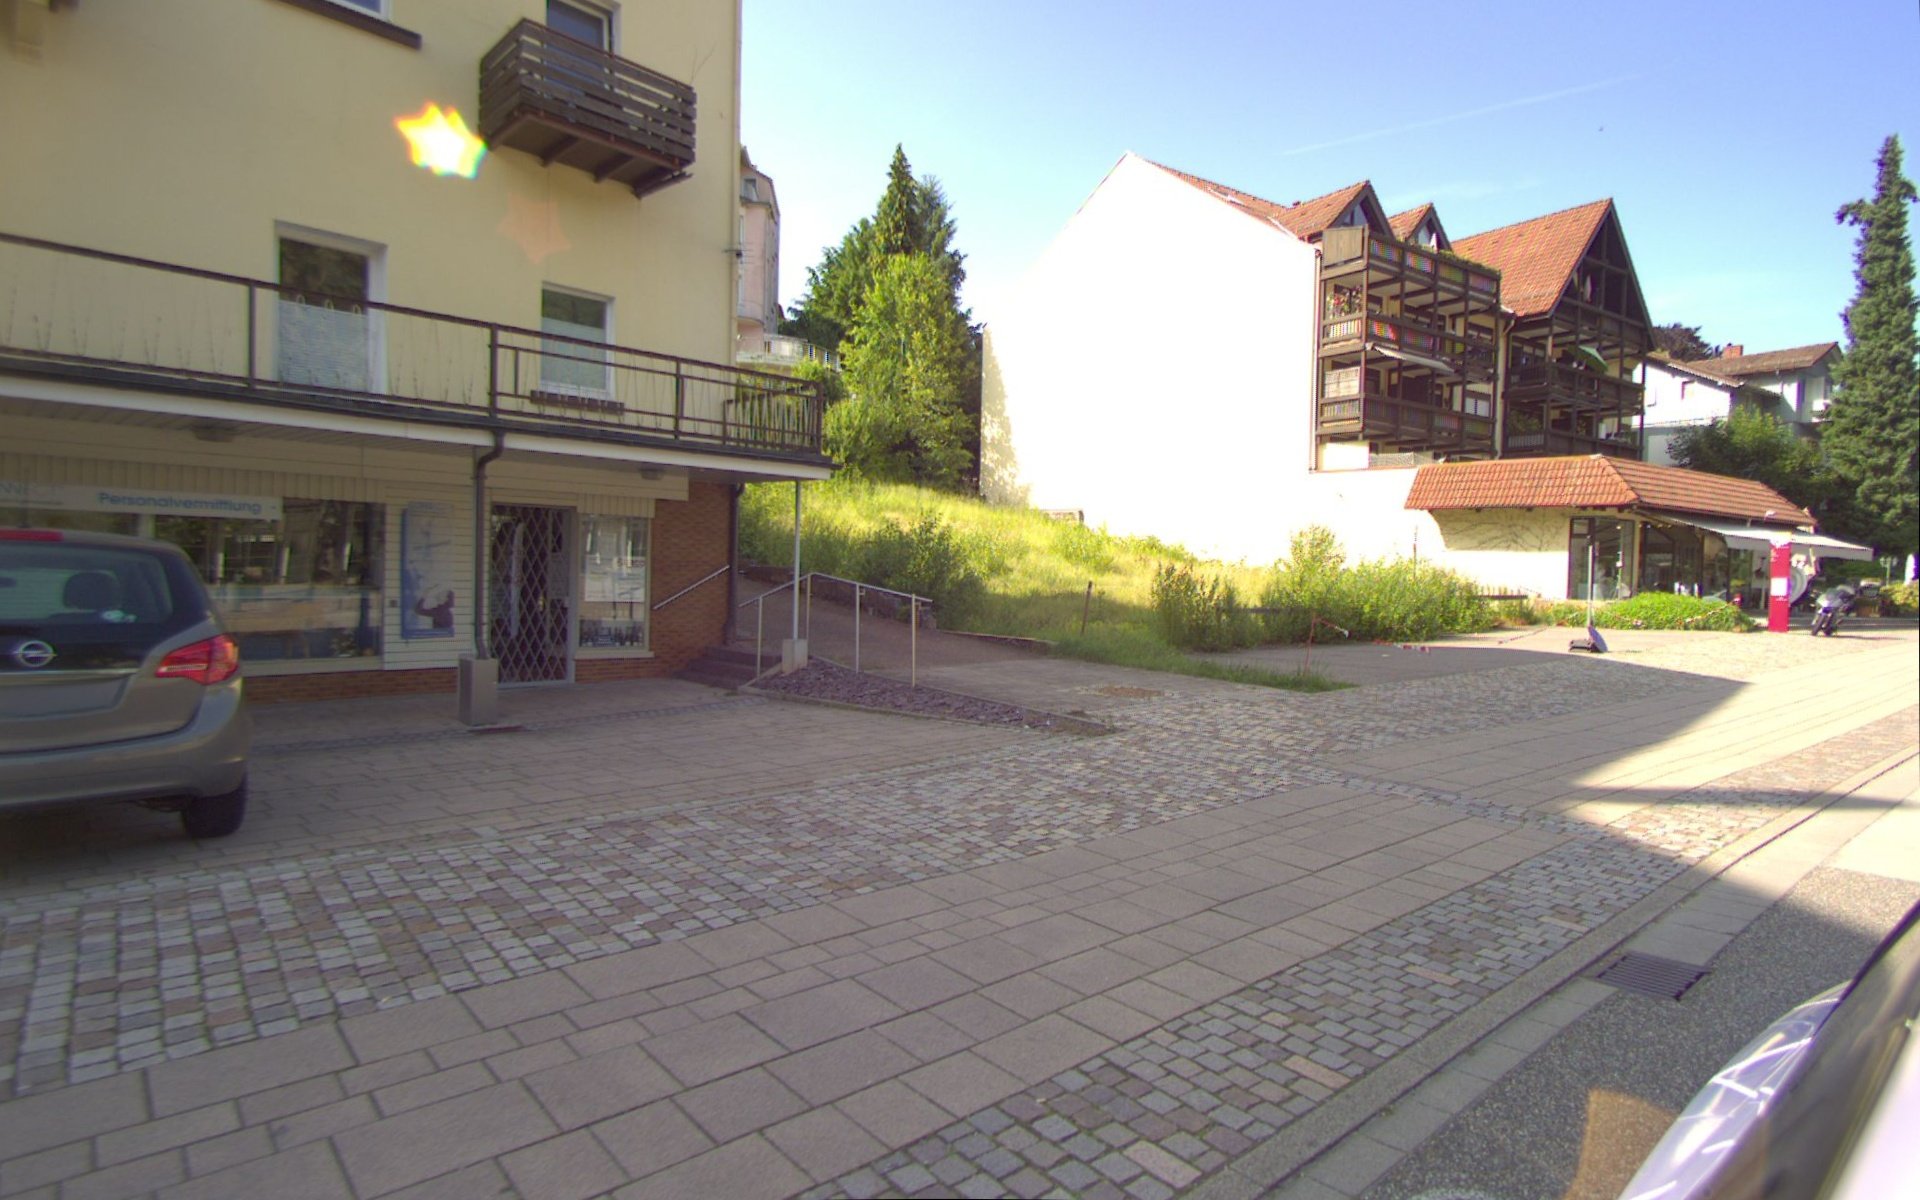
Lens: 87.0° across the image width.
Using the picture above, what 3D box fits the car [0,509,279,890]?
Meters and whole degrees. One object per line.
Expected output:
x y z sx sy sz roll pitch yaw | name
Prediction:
-5.264 0.416 5.621 3.859 1.574 1.732 0 0 44 | car

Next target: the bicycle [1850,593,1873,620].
32.469 0.221 36.458 0.395 0.852 1.597 2 4 34 | bicycle

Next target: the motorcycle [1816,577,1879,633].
22.369 0.104 25.485 2.171 1.311 0.699 0 5 -38 | motorcycle
